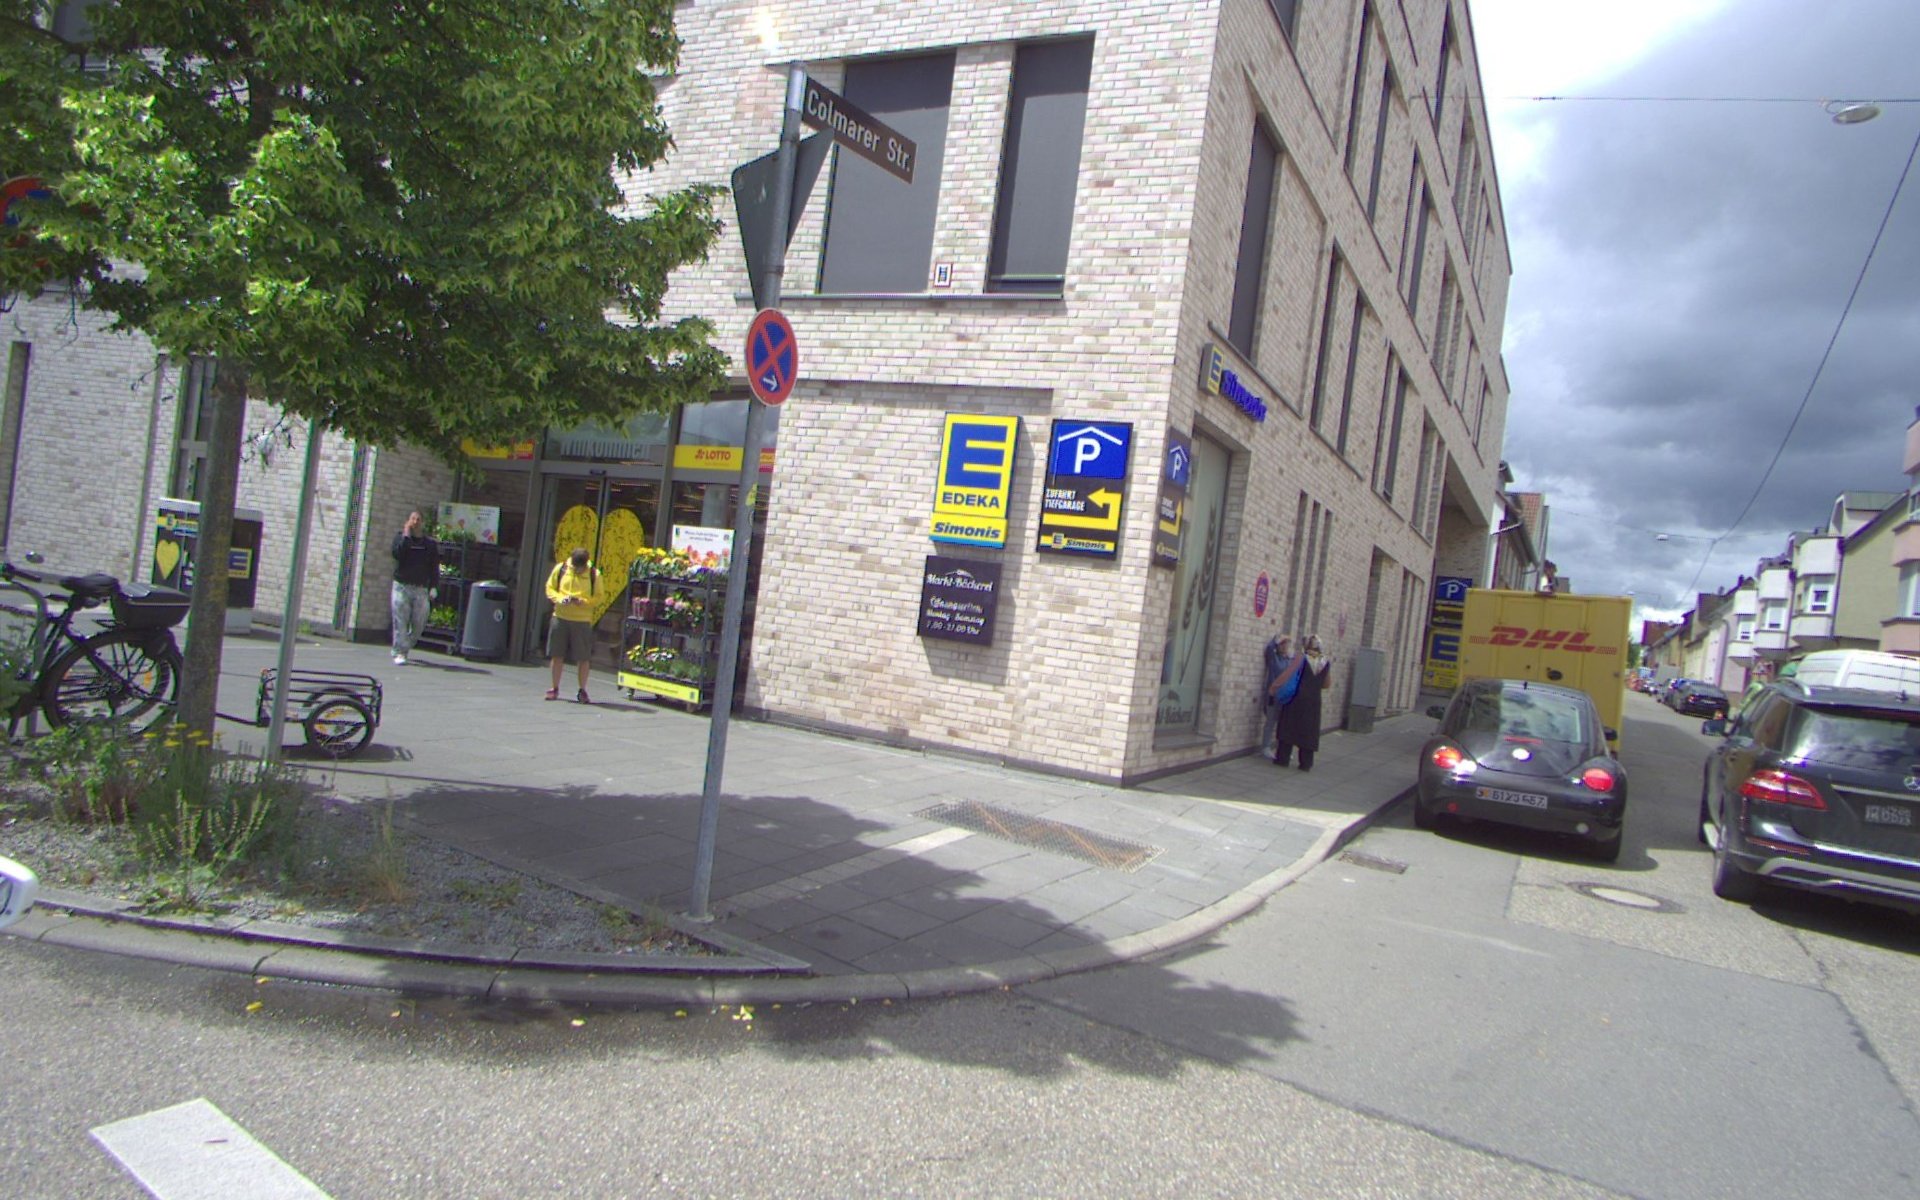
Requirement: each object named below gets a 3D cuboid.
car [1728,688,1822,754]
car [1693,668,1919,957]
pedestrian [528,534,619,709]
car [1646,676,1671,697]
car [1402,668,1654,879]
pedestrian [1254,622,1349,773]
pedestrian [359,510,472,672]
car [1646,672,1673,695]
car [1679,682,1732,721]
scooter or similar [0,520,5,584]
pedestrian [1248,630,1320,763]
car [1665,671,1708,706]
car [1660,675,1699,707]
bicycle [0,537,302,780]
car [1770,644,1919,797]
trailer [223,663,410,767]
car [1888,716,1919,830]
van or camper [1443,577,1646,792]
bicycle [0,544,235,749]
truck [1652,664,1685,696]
[{"bbox_3d":[23.480,3.430,29.101,1.605,1.495,3.766,7,1,34],"label":"car"},{"bbox_3d":[7.592,1.597,8.481,1.968,1.768,4.517,7,1,35],"label":"car"},{"bbox_3d":[-4.020,0.221,10.452,0.652,1.713,0.627,6,1,-27],"label":"pedestrian"},{"bbox_3d":[62.785,7.752,90.495,1.605,1.662,3.766,7,1,34],"label":"car"},{"bbox_3d":[5.812,1.574,10.421,1.753,1.495,3.899,7,0,29],"label":"car"},{"bbox_3d":[4.099,1.156,12.113,0.801,1.690,0.556,6,-1,2],"label":"pedestrian"},{"bbox_3d":[-6.389,-0.112,11.798,1.002,1.763,0.657,7,1,37],"label":"pedestrian"},{"bbox_3d":[58.310,6.908,83.873,1.605,1.662,3.766,7,1,34],"label":"car"},{"bbox_3d":[34.418,4.667,46.521,1.605,1.495,3.766,7,1,34],"label":"car"},{"bbox_3d":[-7.395,0.001,6.807,0.485,1.265,1.198,7,1,29],"label":"scooter or similar"},{"bbox_3d":[4.098,1.211,12.750,0.592,1.591,0.523,6,-1,2],"label":"pedestrian"},{"bbox_3d":[40.333,4.874,55.912,1.605,1.662,3.766,7,1,34],"label":"car"},{"bbox_3d":[43.048,5.405,60.234,1.605,1.662,3.766,7,1,34],"label":"car"},{"bbox_3d":[-4.958,0.306,5.717,0.743,1.216,1.825,6,0,29],"label":"bicycle"},{"bbox_3d":[18.614,2.391,20.798,2.093,2.586,5.888,7,1,33],"label":"car"},{"bbox_3d":[-4.215,0.743,6.601,0.798,0.535,0.721,6,-1,32],"label":"trailer"},{"bbox_3d":[13.825,2.459,13.089,1.803,1.495,4.010,7,0,34],"label":"car"},{"bbox_3d":[9.910,1.283,16.980,2.240,2.771,6.858,5,0,32],"label":"van or camper"},{"bbox_3d":[-5.644,0.260,6.092,0.743,1.145,1.825,6,0,29],"label":"bicycle"},{"bbox_3d":[53.651,6.064,76.224,1.605,2.162,5.374,7,1,33],"label":"truck"}]
